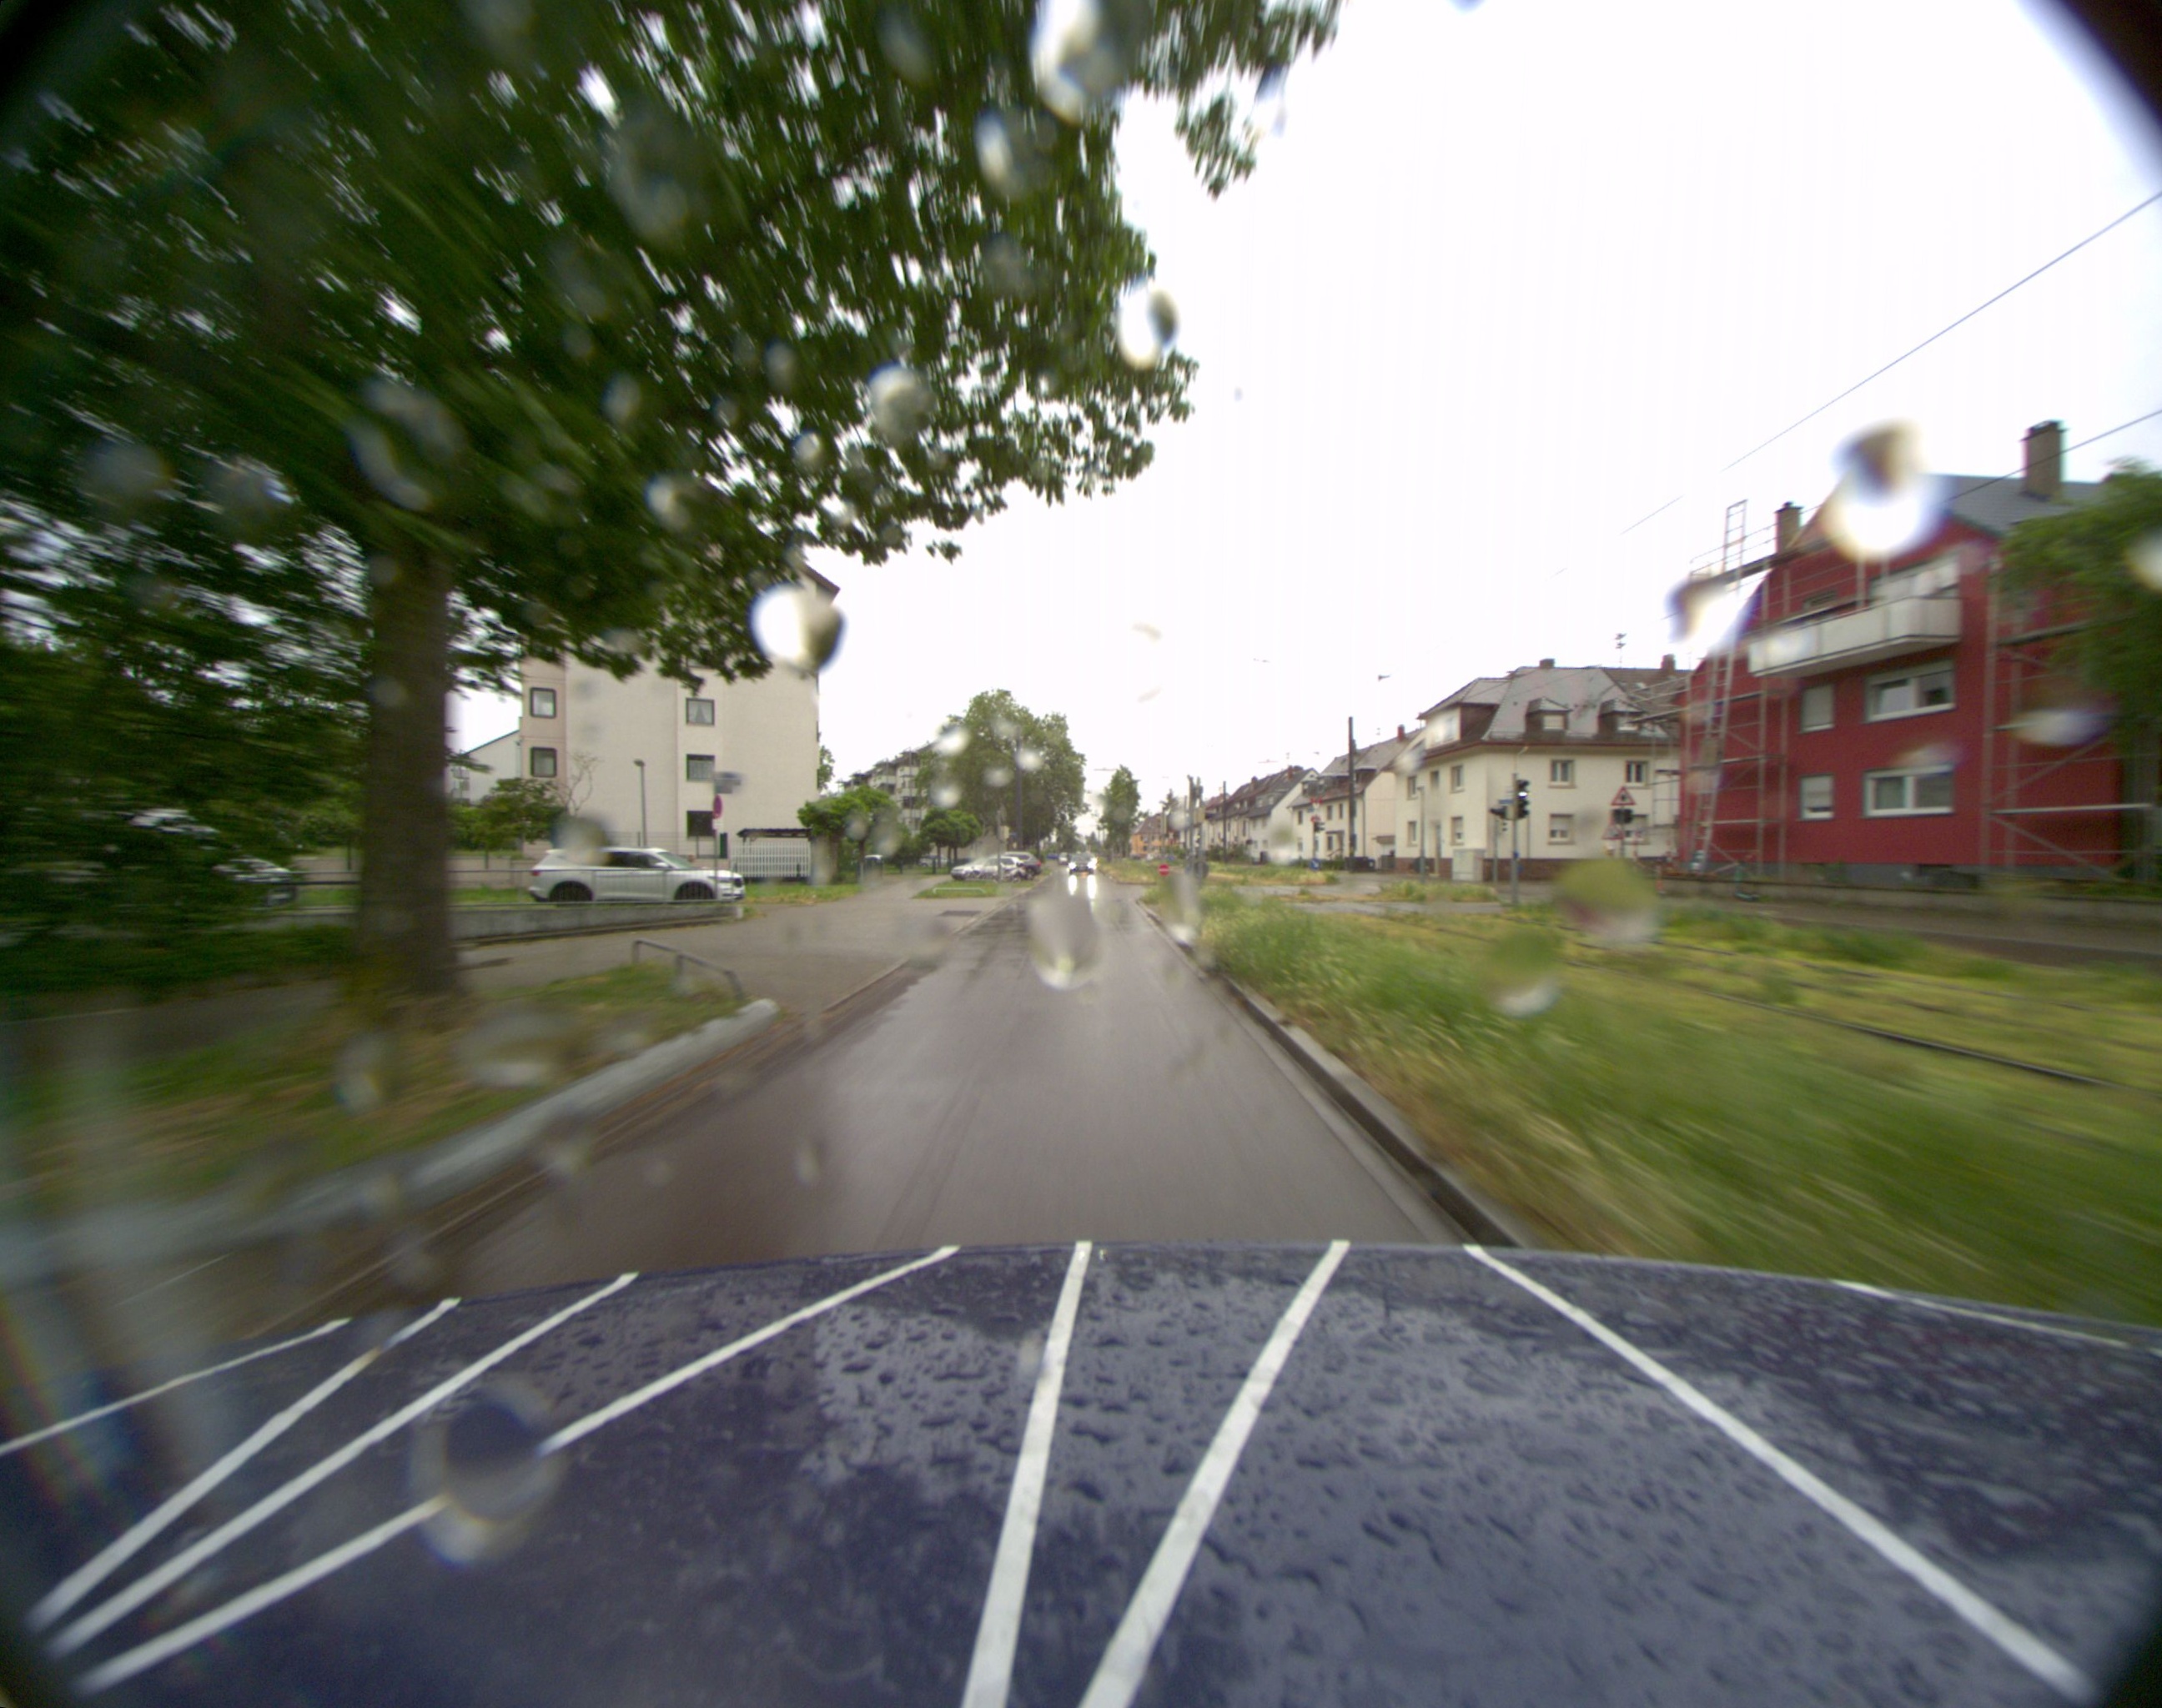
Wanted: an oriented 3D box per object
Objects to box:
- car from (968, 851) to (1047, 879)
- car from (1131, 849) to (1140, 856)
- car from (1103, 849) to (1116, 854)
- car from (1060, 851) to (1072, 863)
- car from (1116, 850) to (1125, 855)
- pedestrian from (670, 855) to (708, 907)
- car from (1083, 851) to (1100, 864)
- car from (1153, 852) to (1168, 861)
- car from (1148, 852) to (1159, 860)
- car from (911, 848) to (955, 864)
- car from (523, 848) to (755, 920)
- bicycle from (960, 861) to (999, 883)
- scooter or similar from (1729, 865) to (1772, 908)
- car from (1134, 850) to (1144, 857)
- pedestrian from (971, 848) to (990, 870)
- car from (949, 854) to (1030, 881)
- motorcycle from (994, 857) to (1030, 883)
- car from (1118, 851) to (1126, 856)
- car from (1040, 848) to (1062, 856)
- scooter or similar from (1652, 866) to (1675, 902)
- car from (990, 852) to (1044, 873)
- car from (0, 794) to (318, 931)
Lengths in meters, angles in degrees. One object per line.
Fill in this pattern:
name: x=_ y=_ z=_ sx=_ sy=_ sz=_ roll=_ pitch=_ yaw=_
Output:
car: x=-4.416 y=0.638 z=45.623 sx=4.357 sy=1.641 sz=1.853 roll=0 pitch=0 yaw=-32
car: x=13.419 y=-0.401 z=188.174 sx=1.998 sy=1.648 sz=3.999 roll=-1 pitch=1 yaw=1
car: x=8.894 y=-0.729 z=239.367 sx=3.999 sy=1.638 sz=1.893 roll=1 pitch=1 yaw=-5
car: x=-1.983 y=0.403 z=101.753 sx=1.562 sy=1.510 sz=3.999 roll=1 pitch=0 yaw=-2
car: x=11.535 y=-0.352 z=221.104 sx=2.097 sy=1.423 sz=4.076 roll=0 pitch=0 yaw=-3
pedestrian: x=-12.081 y=0.829 z=23.459 sx=0.840 sy=1.561 sz=0.813 roll=0 pitch=1 yaw=-12
car: x=1.324 y=0.448 z=93.631 sx=1.854 sy=1.500 sz=4.119 roll=1 pitch=0 yaw=-2
car: x=14.212 y=0.397 z=135.717 sx=1.892 sy=1.523 sz=4.755 roll=1 pitch=0 yaw=-3
car: x=14.012 y=0.410 z=146.895 sx=1.715 sy=1.432 sz=3.999 roll=1 pitch=0 yaw=-3
car: x=-15.682 y=0.210 z=80.531 sx=4.303 sy=1.671 sz=1.871 roll=0 pitch=1 yaw=2
car: x=-11.277 y=0.712 z=19.802 sx=4.821 sy=1.735 sz=1.997 roll=0 pitch=1 yaw=-14
bicycle: x=-5.146 y=0.925 z=38.714 sx=0.627 sy=1.095 sz=1.961 roll=1 pitch=0 yaw=45
scooter or similar: x=19.400 y=0.933 z=22.036 sx=0.394 sy=1.173 sz=1.284 roll=0 pitch=1 yaw=16
car: x=13.307 y=-0.030 z=174.589 sx=1.912 sy=1.581 sz=3.999 roll=0 pitch=0 yaw=-2
pedestrian: x=-8.349 y=0.373 z=63.124 sx=1.101 sy=1.803 sz=1.434 roll=0 pitch=1 yaw=10
car: x=-5.026 y=0.752 z=41.957 sx=4.133 sy=1.414 sz=1.734 roll=1 pitch=0 yaw=-36
motorcycle: x=-3.628 y=0.842 z=40.008 sx=1.783 sy=1.329 sz=0.687 roll=1 pitch=0 yaw=-36
car: x=11.474 y=-0.095 z=212.372 sx=1.886 sy=1.423 sz=4.076 roll=0 pitch=0 yaw=-3
car: x=-5.680 y=-0.365 z=143.712 sx=4.007 sy=1.518 sz=1.715 roll=0 pitch=1 yaw=-34
scooter or similar: x=19.103 y=0.961 z=24.942 sx=0.440 sy=1.123 sz=1.285 roll=1 pitch=1 yaw=31
car: x=-5.085 y=0.669 z=60.966 sx=4.008 sy=1.499 sz=1.700 roll=0 pitch=3 yaw=-39
car: x=-22.260 y=0.169 z=17.680 sx=6.079 sy=2.947 sz=2.127 roll=0 pitch=1 yaw=-14
